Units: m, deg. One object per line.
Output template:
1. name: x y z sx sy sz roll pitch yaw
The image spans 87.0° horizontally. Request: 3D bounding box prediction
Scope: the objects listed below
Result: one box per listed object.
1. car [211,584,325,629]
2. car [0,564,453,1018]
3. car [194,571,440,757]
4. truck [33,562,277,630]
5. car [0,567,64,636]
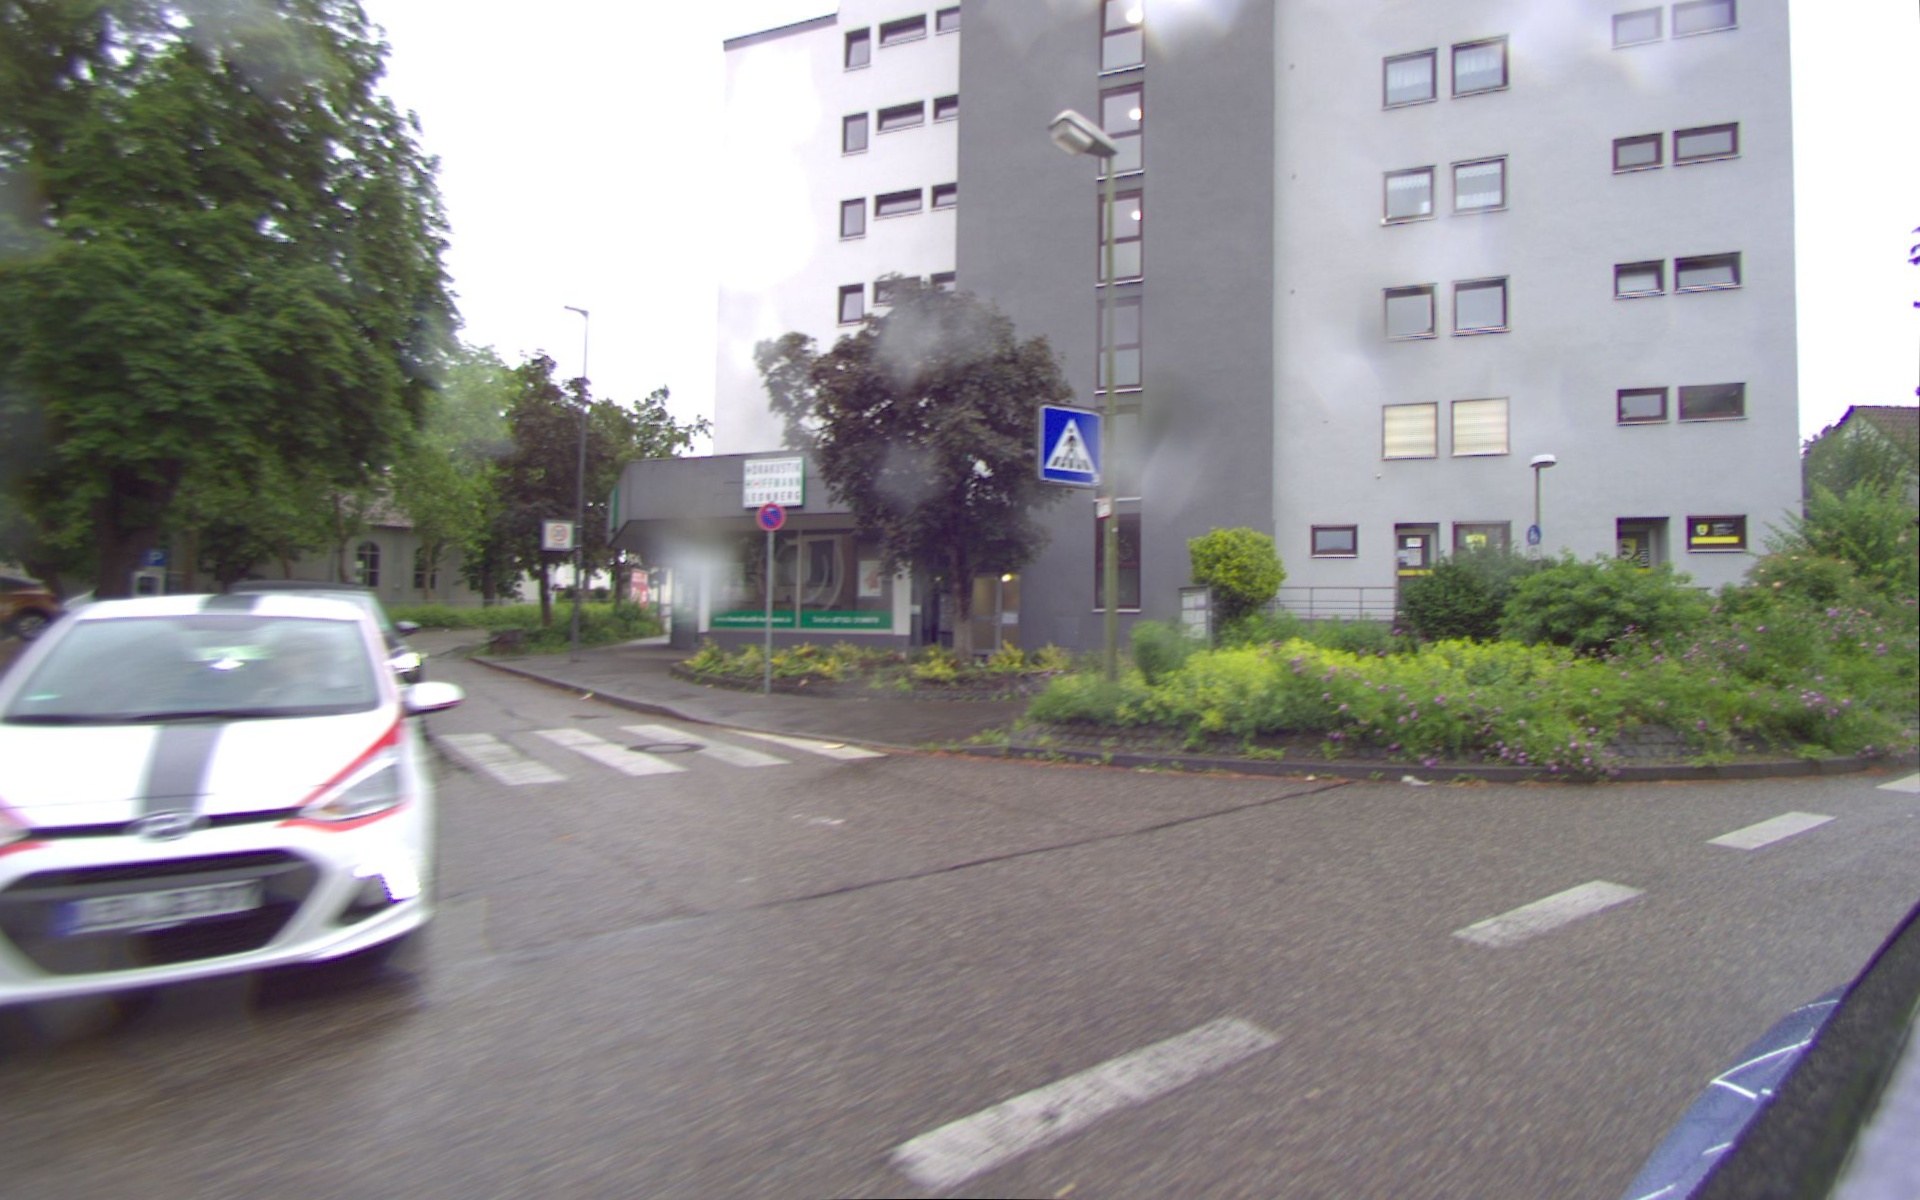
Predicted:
1. car: -30.334 0.317 44.471 3.754 1.859 1.859 1 -3 -22
2. car: -3.642 0.632 5.159 1.678 1.471 3.767 1 -1 -29
3. car: -7.082 0.582 10.932 1.688 1.593 4.413 2 -2 -39
4. truck: -29.000 -0.169 36.775 6.547 2.304 2.312 0 1 -19
5. car: -23.053 0.013 22.853 1.698 1.593 3.876 1 0 21
